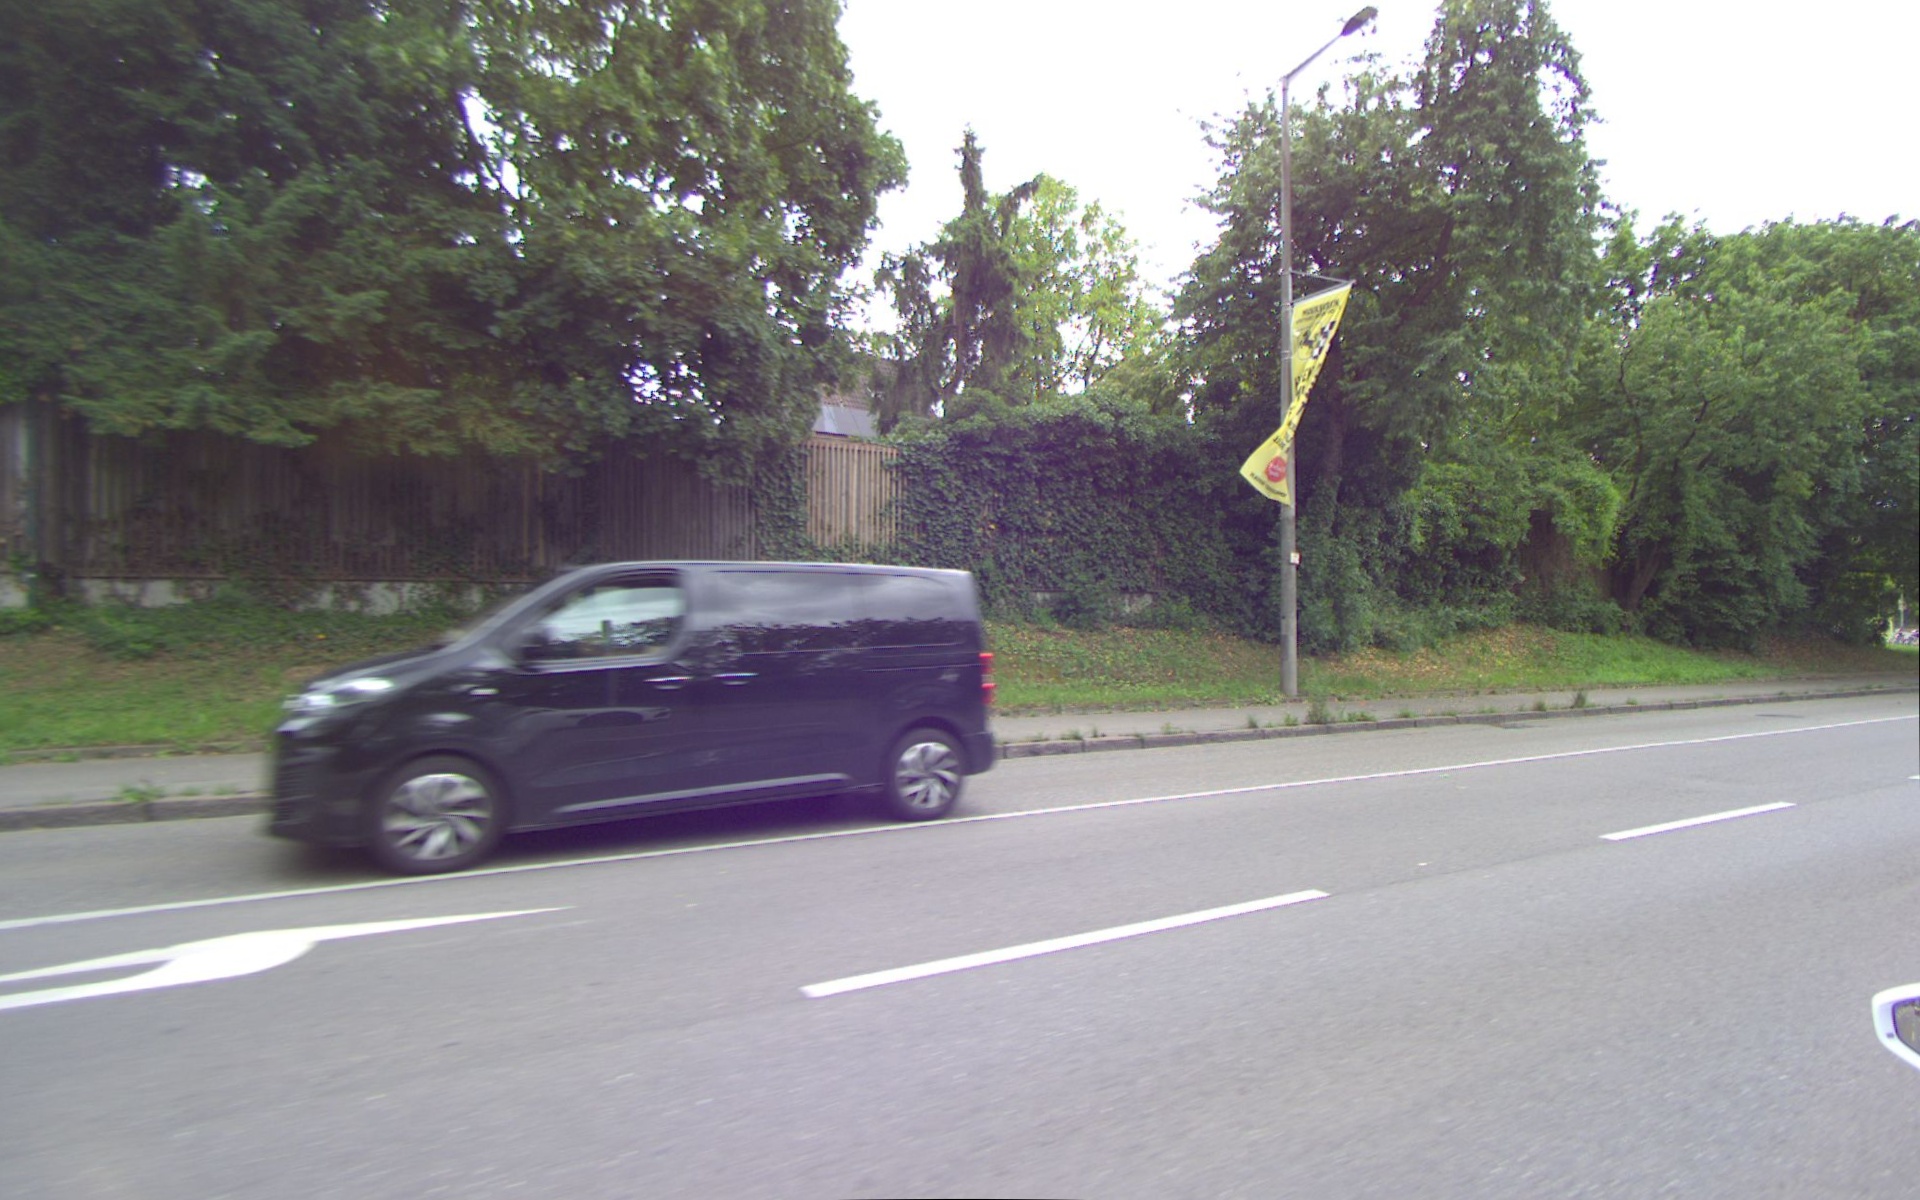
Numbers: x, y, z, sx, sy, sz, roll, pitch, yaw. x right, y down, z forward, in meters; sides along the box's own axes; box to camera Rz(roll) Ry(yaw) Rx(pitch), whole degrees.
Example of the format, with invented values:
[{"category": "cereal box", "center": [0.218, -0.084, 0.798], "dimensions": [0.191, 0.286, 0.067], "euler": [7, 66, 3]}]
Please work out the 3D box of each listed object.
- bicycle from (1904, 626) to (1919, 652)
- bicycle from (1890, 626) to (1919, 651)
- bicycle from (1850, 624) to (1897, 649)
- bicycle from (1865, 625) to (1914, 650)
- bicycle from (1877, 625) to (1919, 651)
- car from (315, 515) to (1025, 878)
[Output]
[{"category": "bicycle", "center": [49.623, 2.027, 51.434], "dimensions": [1.896, 1.269, 0.546], "euler": [2, 1, 7]}, {"category": "bicycle", "center": [49.552, 2.017, 52.136], "dimensions": [1.896, 1.269, 0.546], "euler": [2, 1, 7]}, {"category": "bicycle", "center": [49.719, 1.996, 54.686], "dimensions": [1.896, 1.269, 0.546], "euler": [2, 1, 7]}, {"category": "bicycle", "center": [49.739, 2.006, 53.758], "dimensions": [1.896, 1.269, 0.546], "euler": [2, 1, 7]}, {"category": "bicycle", "center": [49.478, 2.007, 52.771], "dimensions": [1.896, 1.269, 0.546], "euler": [2, 1, 7]}, {"category": "car", "center": [-1.920, 0.587, 7.357], "dimensions": [4.637, 1.929, 1.794], "euler": [1, -2, -32]}]
